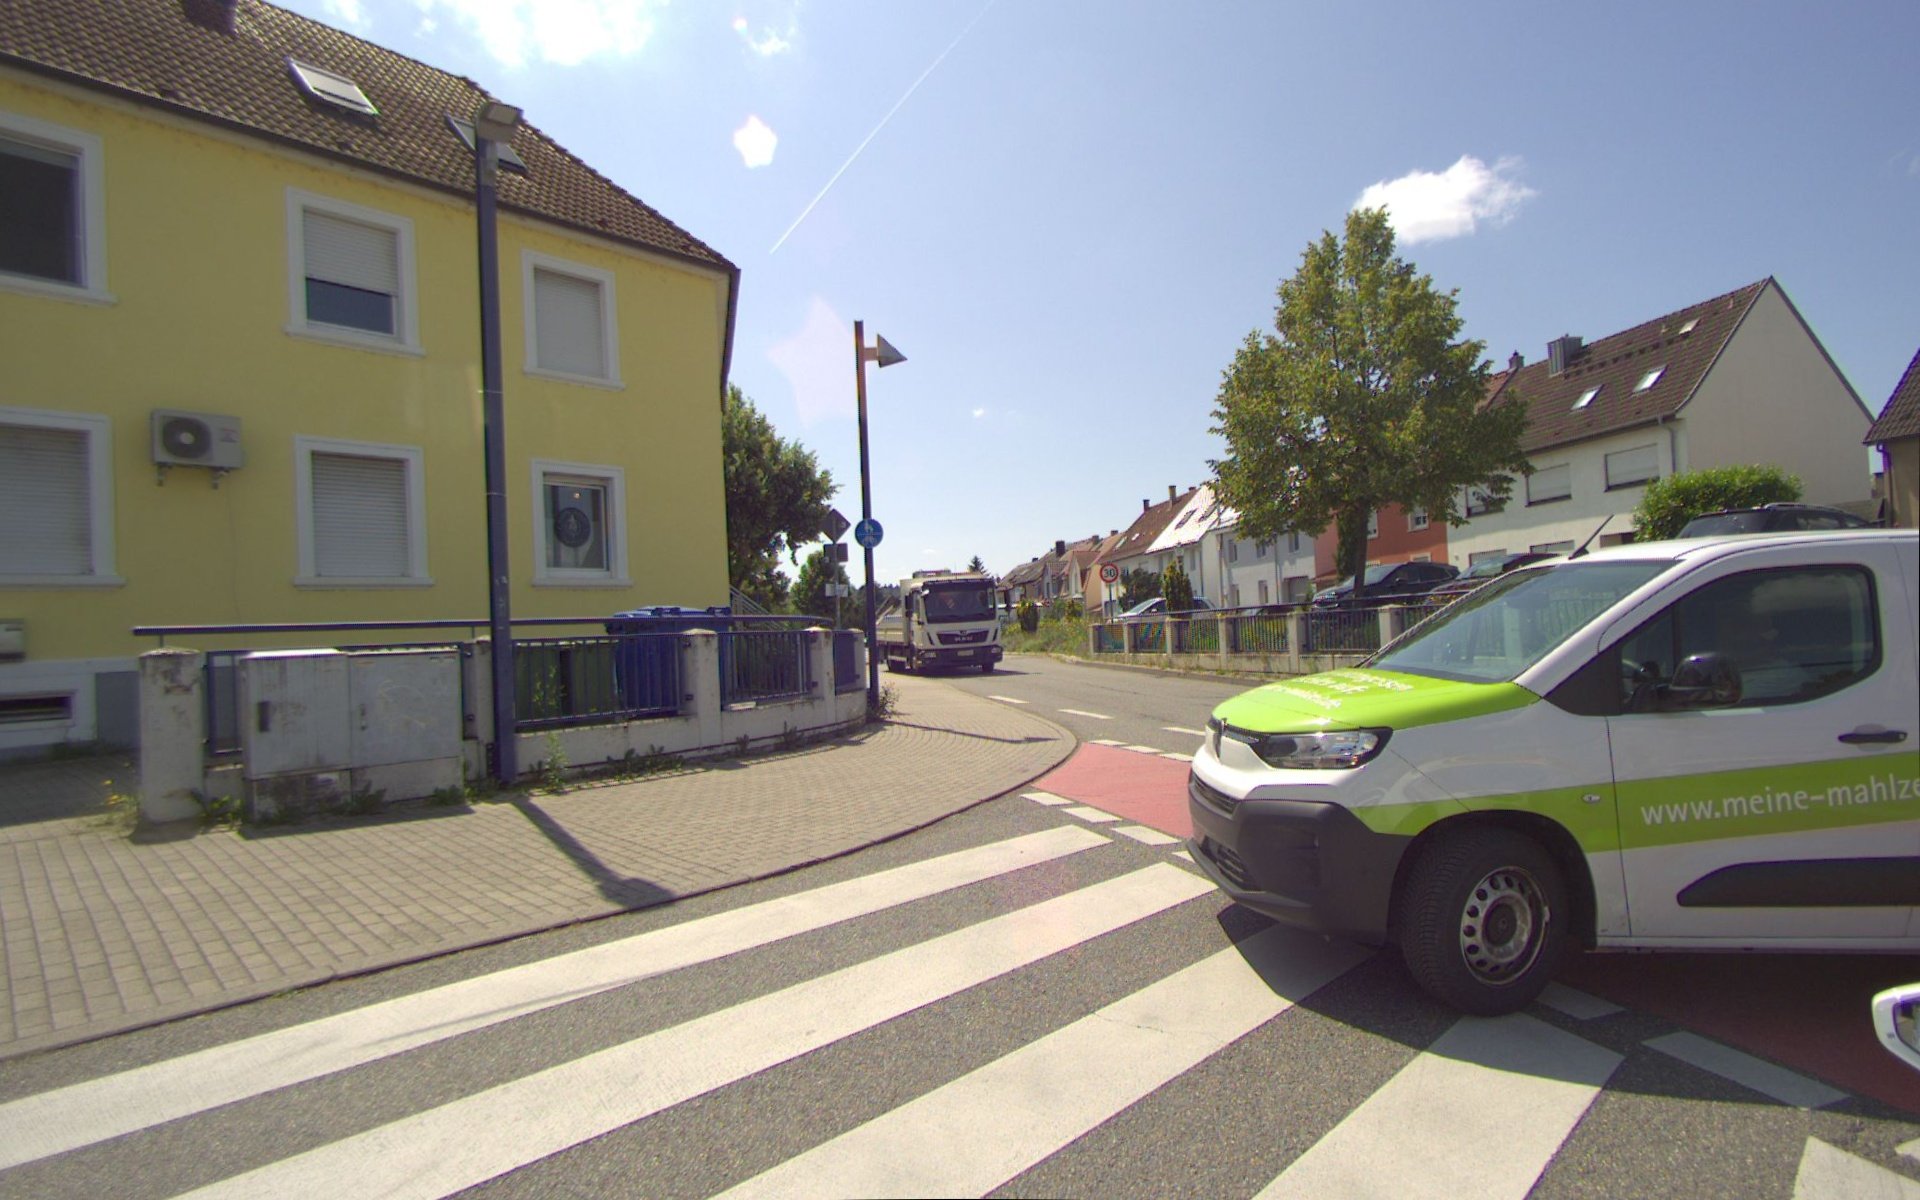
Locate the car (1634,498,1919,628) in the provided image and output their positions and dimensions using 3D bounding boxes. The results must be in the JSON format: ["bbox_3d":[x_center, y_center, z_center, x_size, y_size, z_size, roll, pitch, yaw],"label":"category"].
[{"bbox_3d":[12.784,-0.525,15.624,3.940,1.821,1.864,0,1,-21],"label":"car"}]

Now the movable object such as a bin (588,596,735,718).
[{"bbox_3d":[-3.199,0.595,10.846,0.828,1.229,1.274,-3,-2,31],"label":"movable object such as a bin"}]

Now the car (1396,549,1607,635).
[{"bbox_3d":[10.874,-0.154,20.234,3.555,1.608,1.864,0,1,-21],"label":"car"}]

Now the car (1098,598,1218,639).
[{"bbox_3d":[7.616,0.690,38.703,4.184,1.508,1.743,0,1,-14],"label":"car"}]

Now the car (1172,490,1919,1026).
[{"bbox_3d":[3.341,0.541,4.424,4.468,1.880,1.818,0,1,3],"label":"car"}]

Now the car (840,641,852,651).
[{"bbox_3d":[-18.730,7.556,165.256,1.780,1.416,3.997,-3,-1,-6],"label":"car"}]

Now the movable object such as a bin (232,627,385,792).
[{"bbox_3d":[-5.388,0.865,8.312,0.896,1.241,0.876,-1,-2,-45],"label":"movable object such as a bin"}]

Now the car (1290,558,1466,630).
[{"bbox_3d":[9.935,-0.134,23.938,3.555,1.608,1.864,0,1,-21],"label":"car"}]

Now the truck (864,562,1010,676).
[{"bbox_3d":[-0.943,0.609,30.101,2.574,2.914,8.050,-1,-2,-14],"label":"truck"}]

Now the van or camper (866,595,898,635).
[{"bbox_3d":[-5.586,1.053,71.191,1.967,2.665,5.387,1,-1,-8],"label":"van or camper"}]
